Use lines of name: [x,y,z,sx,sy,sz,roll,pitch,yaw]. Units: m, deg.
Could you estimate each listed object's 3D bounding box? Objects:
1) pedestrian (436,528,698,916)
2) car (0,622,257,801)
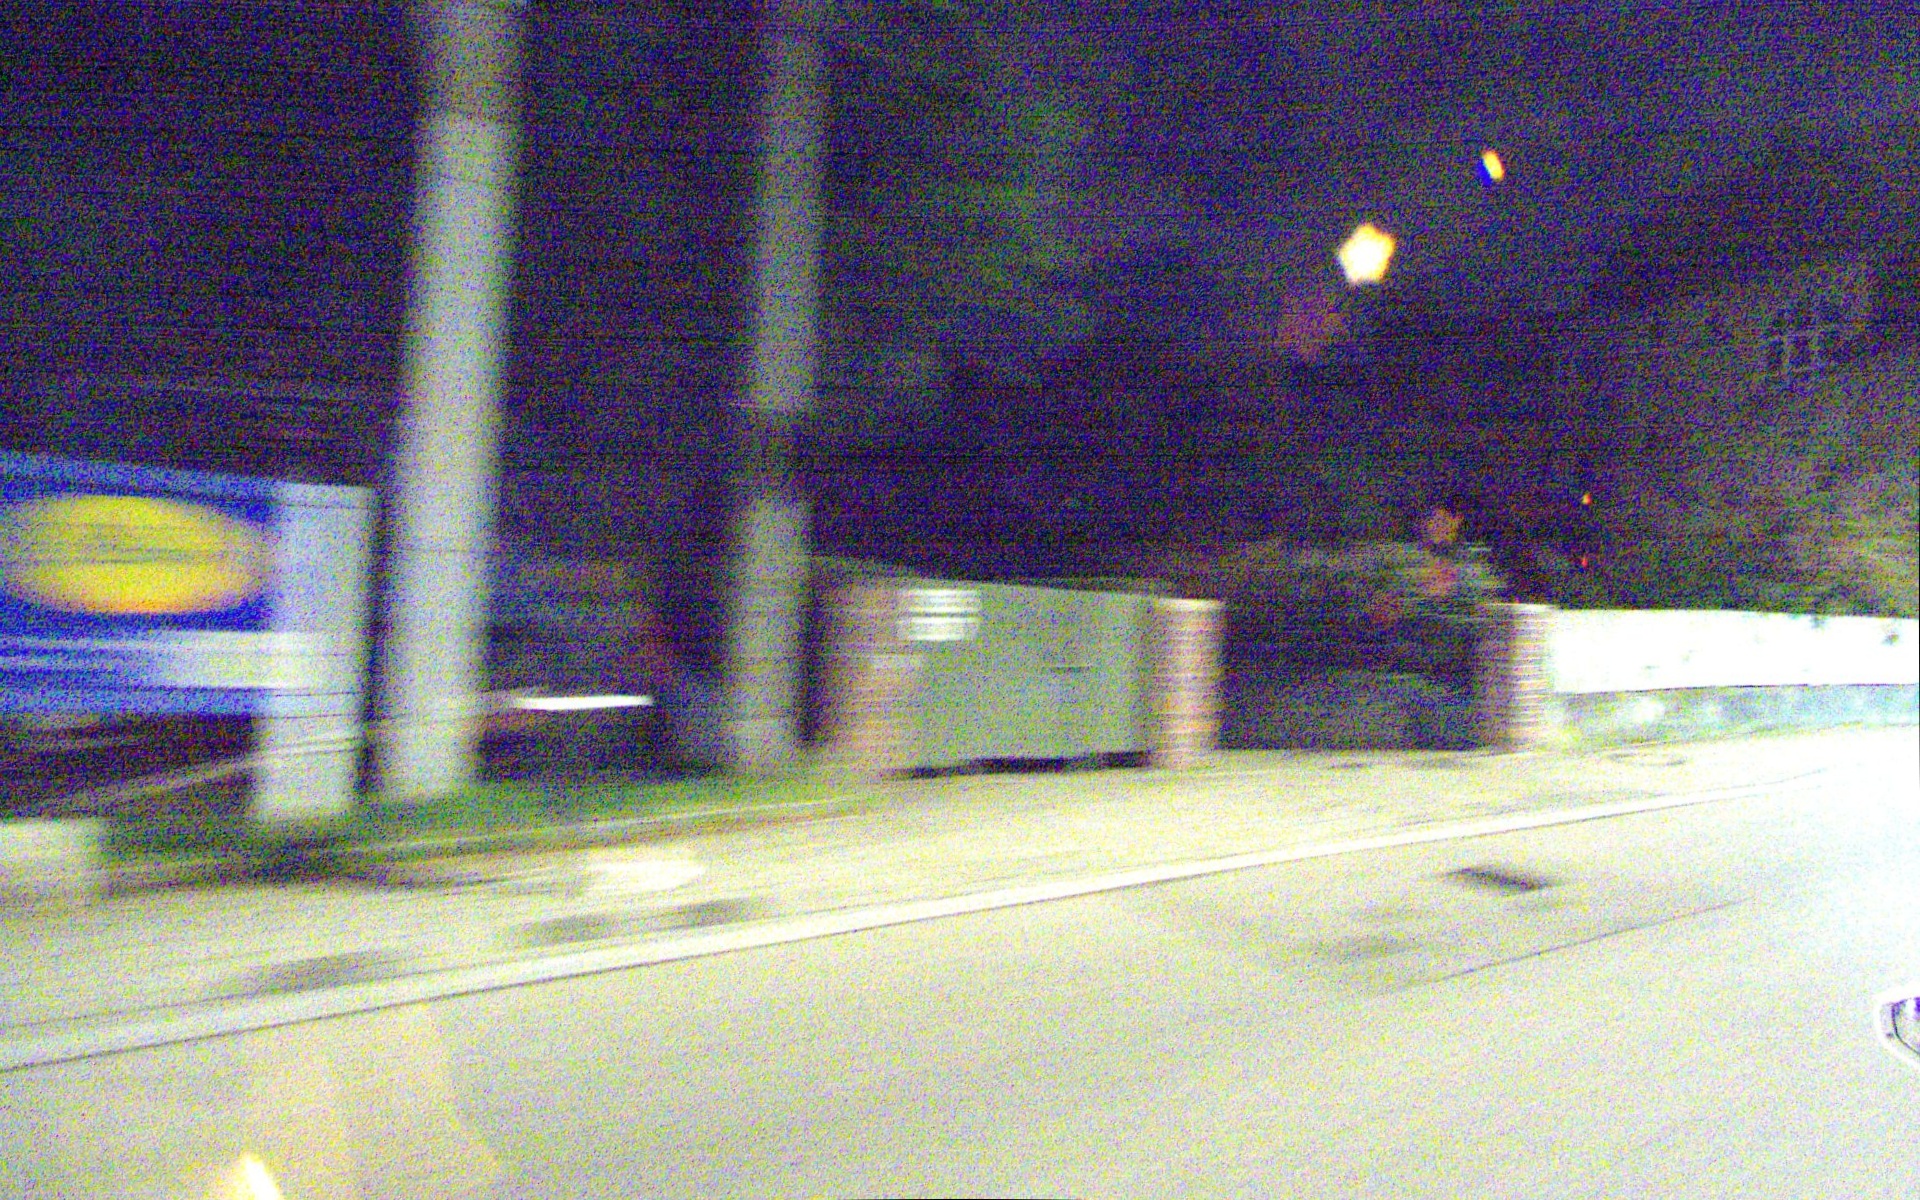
pedestrian: [-1.949,0.549,4.971,1.089,1.694,0.739,2,-1,-28]
car: [-9.266,1.005,10.007,1.960,1.557,3.343,1,-2,5]
